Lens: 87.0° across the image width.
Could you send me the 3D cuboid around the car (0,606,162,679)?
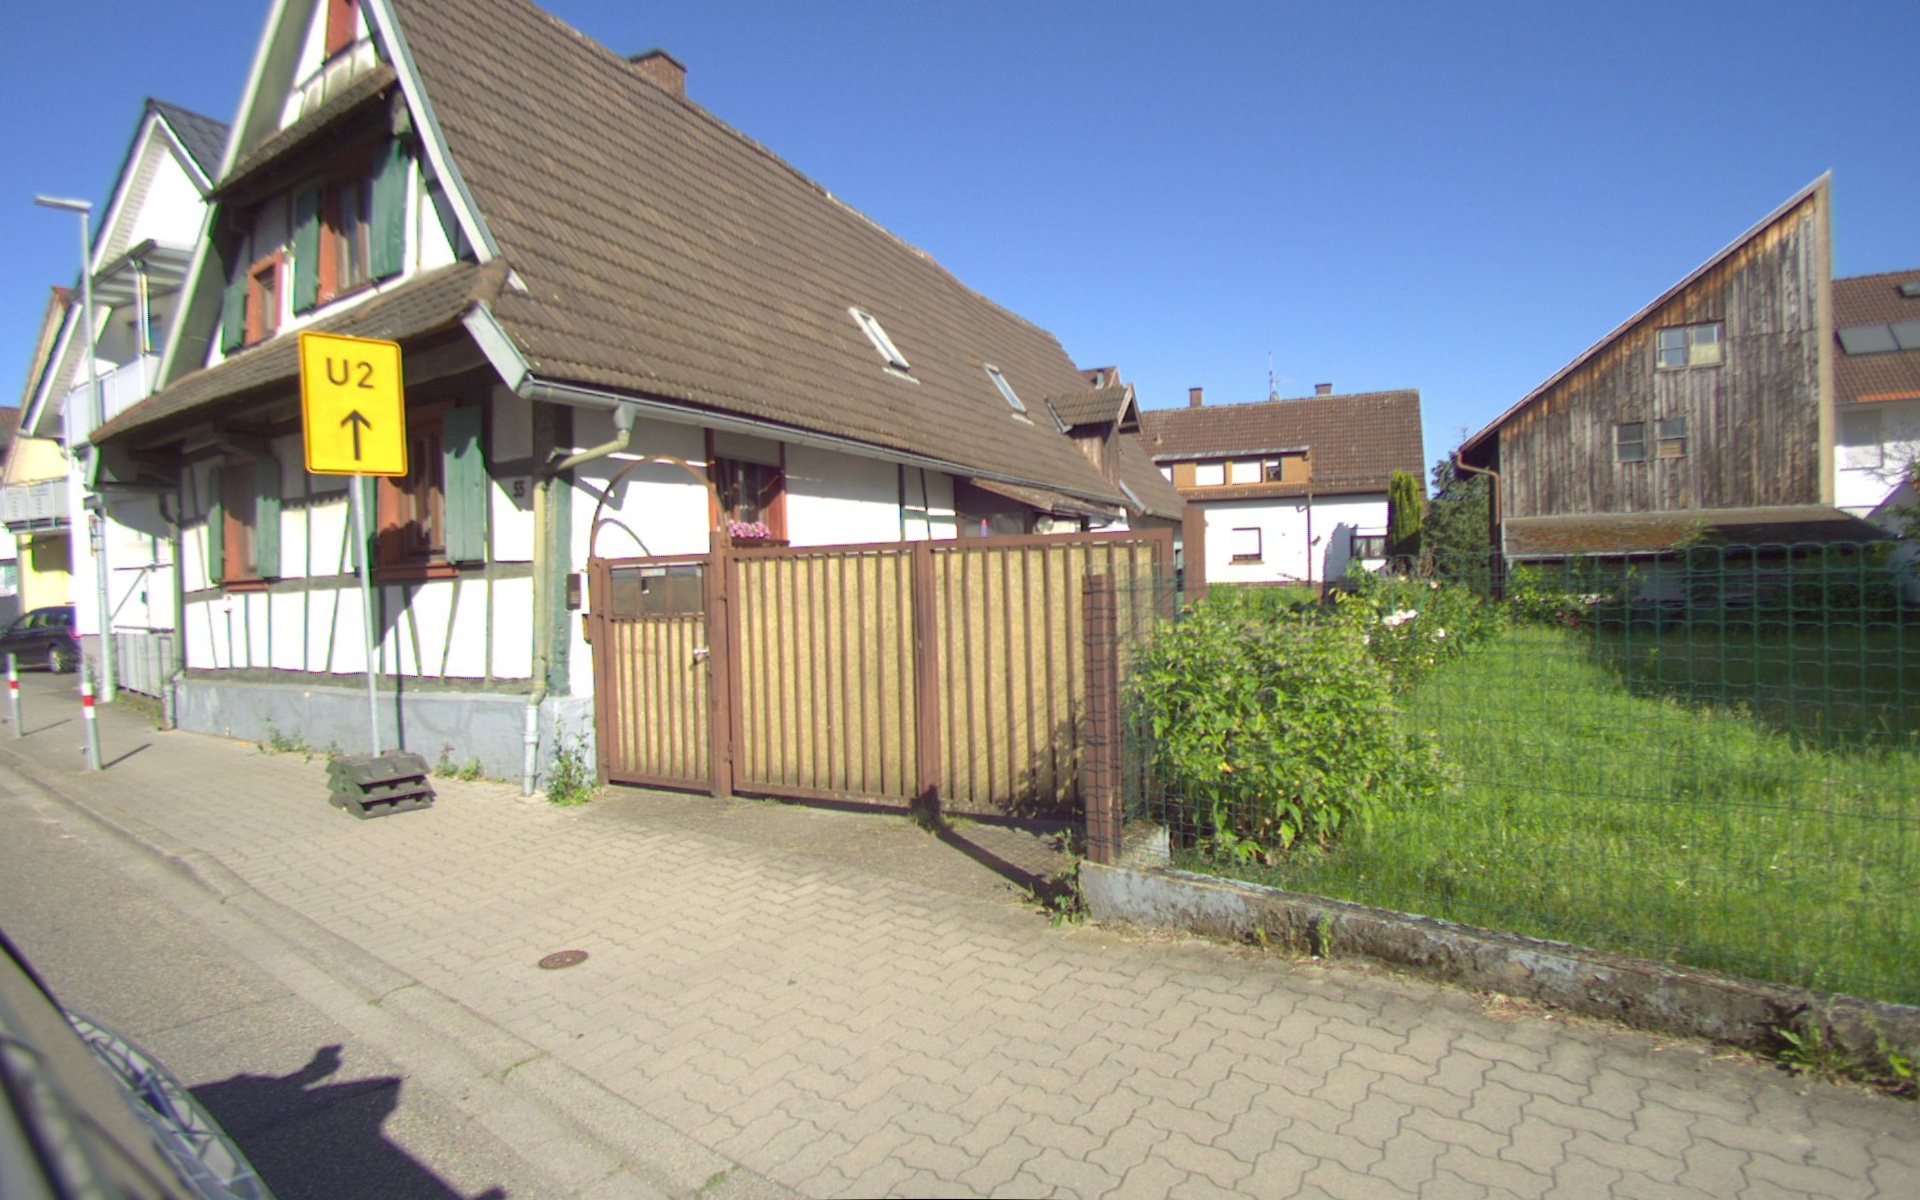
[{"bbox_3d":[-20.466,0.961,23.160,4.151,1.456,1.681,-2,2,24],"label":"car"}]
